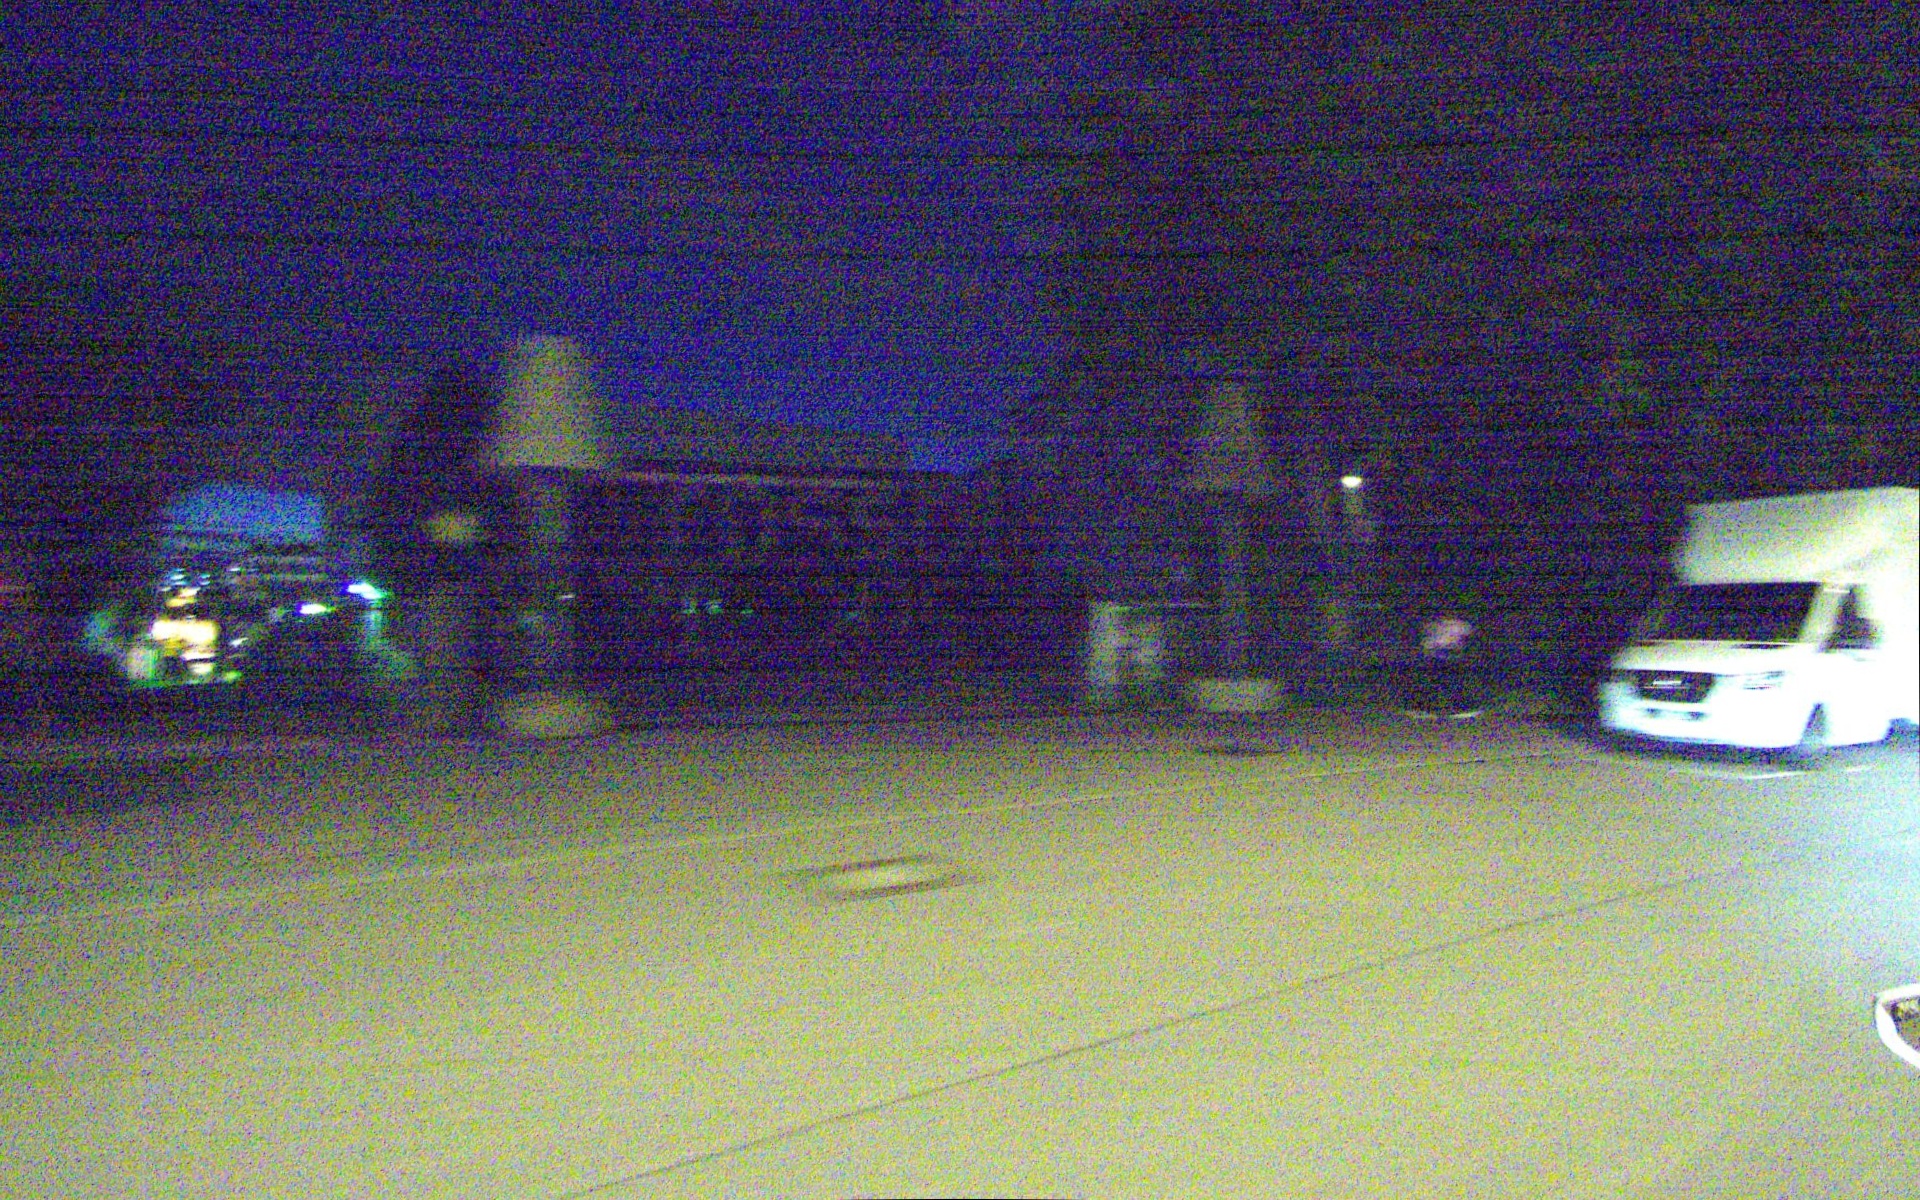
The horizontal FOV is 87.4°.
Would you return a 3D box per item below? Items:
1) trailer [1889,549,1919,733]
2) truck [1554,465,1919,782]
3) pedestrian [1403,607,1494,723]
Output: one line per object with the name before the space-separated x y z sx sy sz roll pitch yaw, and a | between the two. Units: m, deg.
trailer | 17.119 0.667 15.852 4.557 2.832 2.197 1 -1 -27
truck | 11.128 0.325 13.028 7.135 3.286 2.365 1 -1 -26
pedestrian | 7.335 0.958 15.129 0.986 1.693 0.780 0 -1 0
